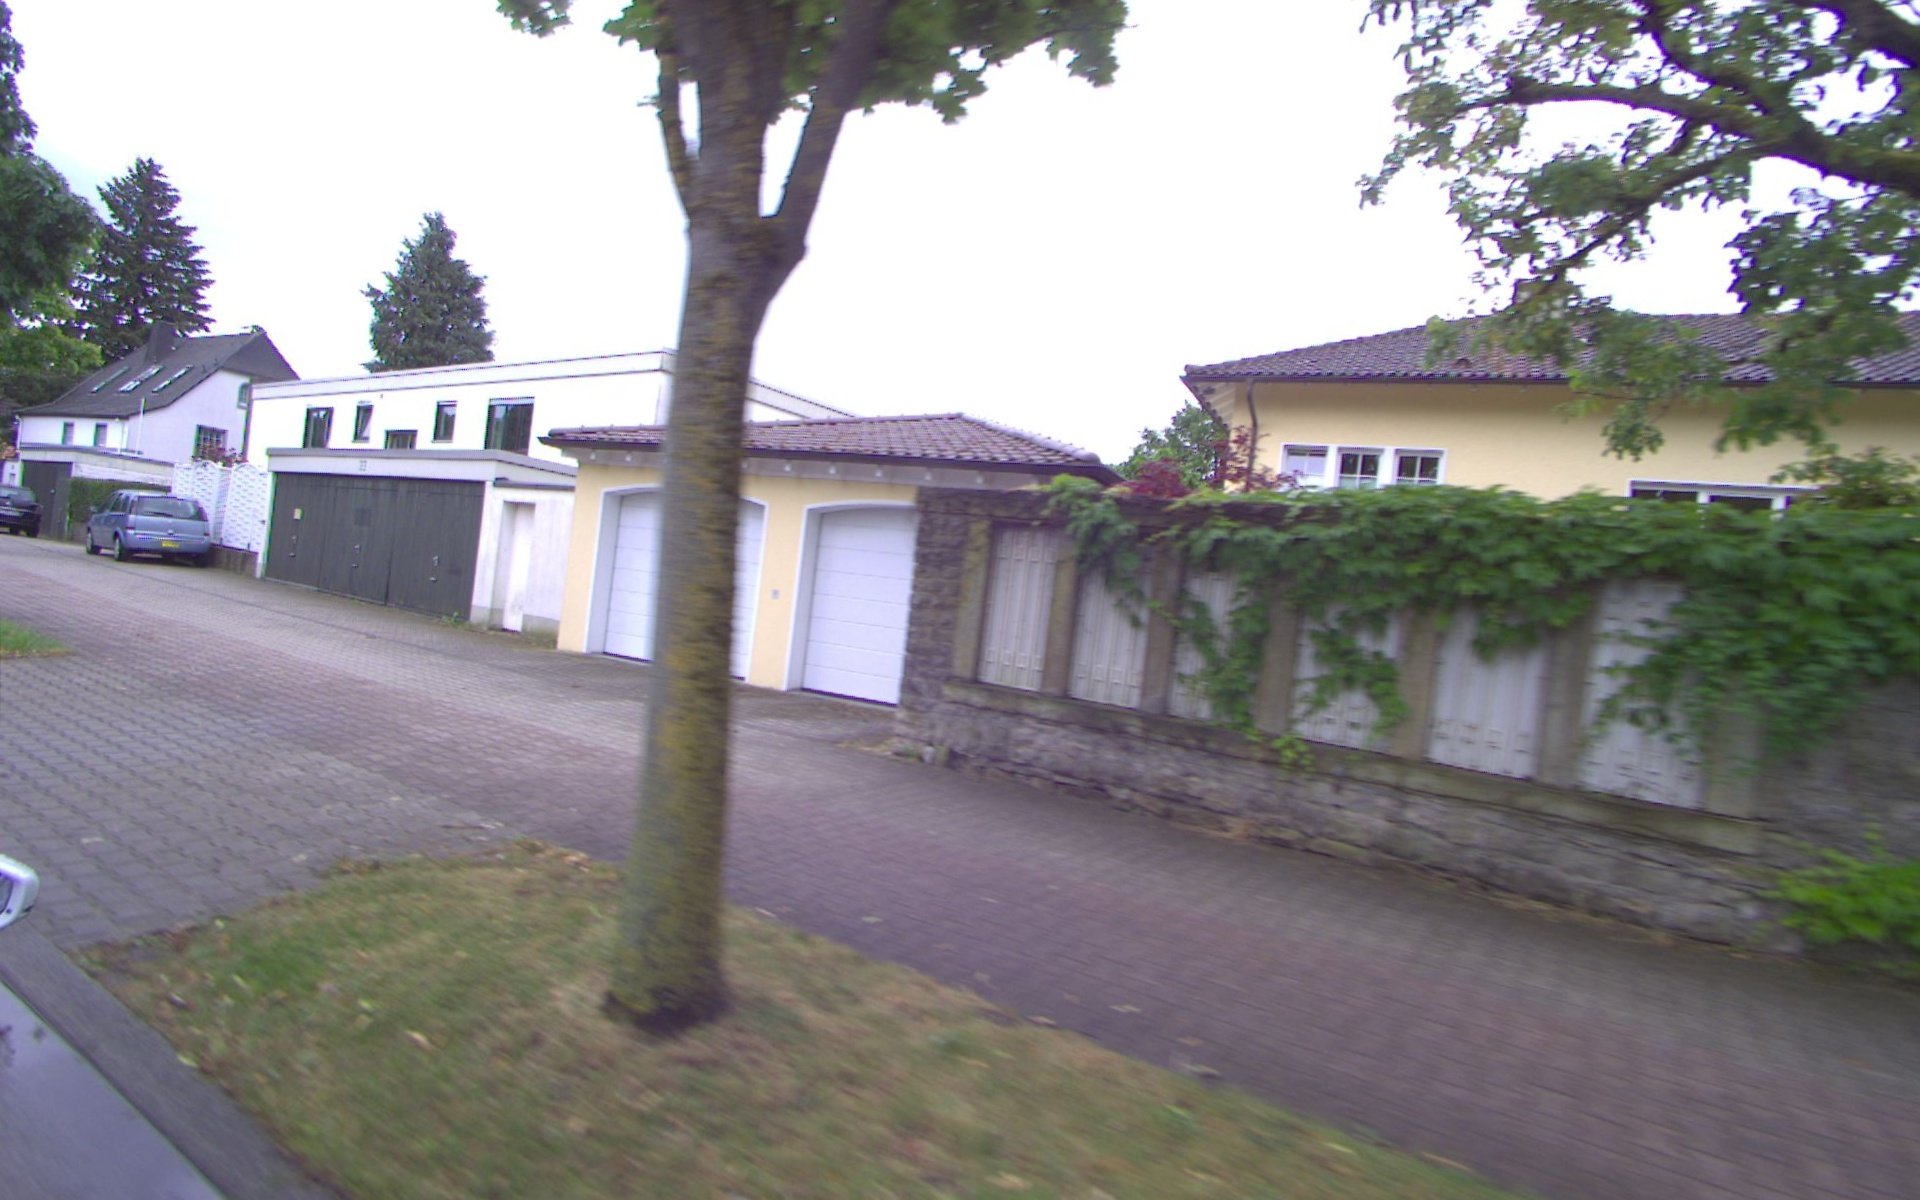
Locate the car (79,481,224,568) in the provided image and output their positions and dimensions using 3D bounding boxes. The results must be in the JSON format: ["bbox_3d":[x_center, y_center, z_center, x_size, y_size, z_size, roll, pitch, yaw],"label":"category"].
[{"bbox_3d":[-19.069,-1.793,23.673,3.940,1.631,1.742,7,0,38],"label":"car"}]

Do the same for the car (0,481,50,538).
[{"bbox_3d":[-29.397,-2.878,30.581,4.476,1.516,1.770,7,0,38],"label":"car"}]
